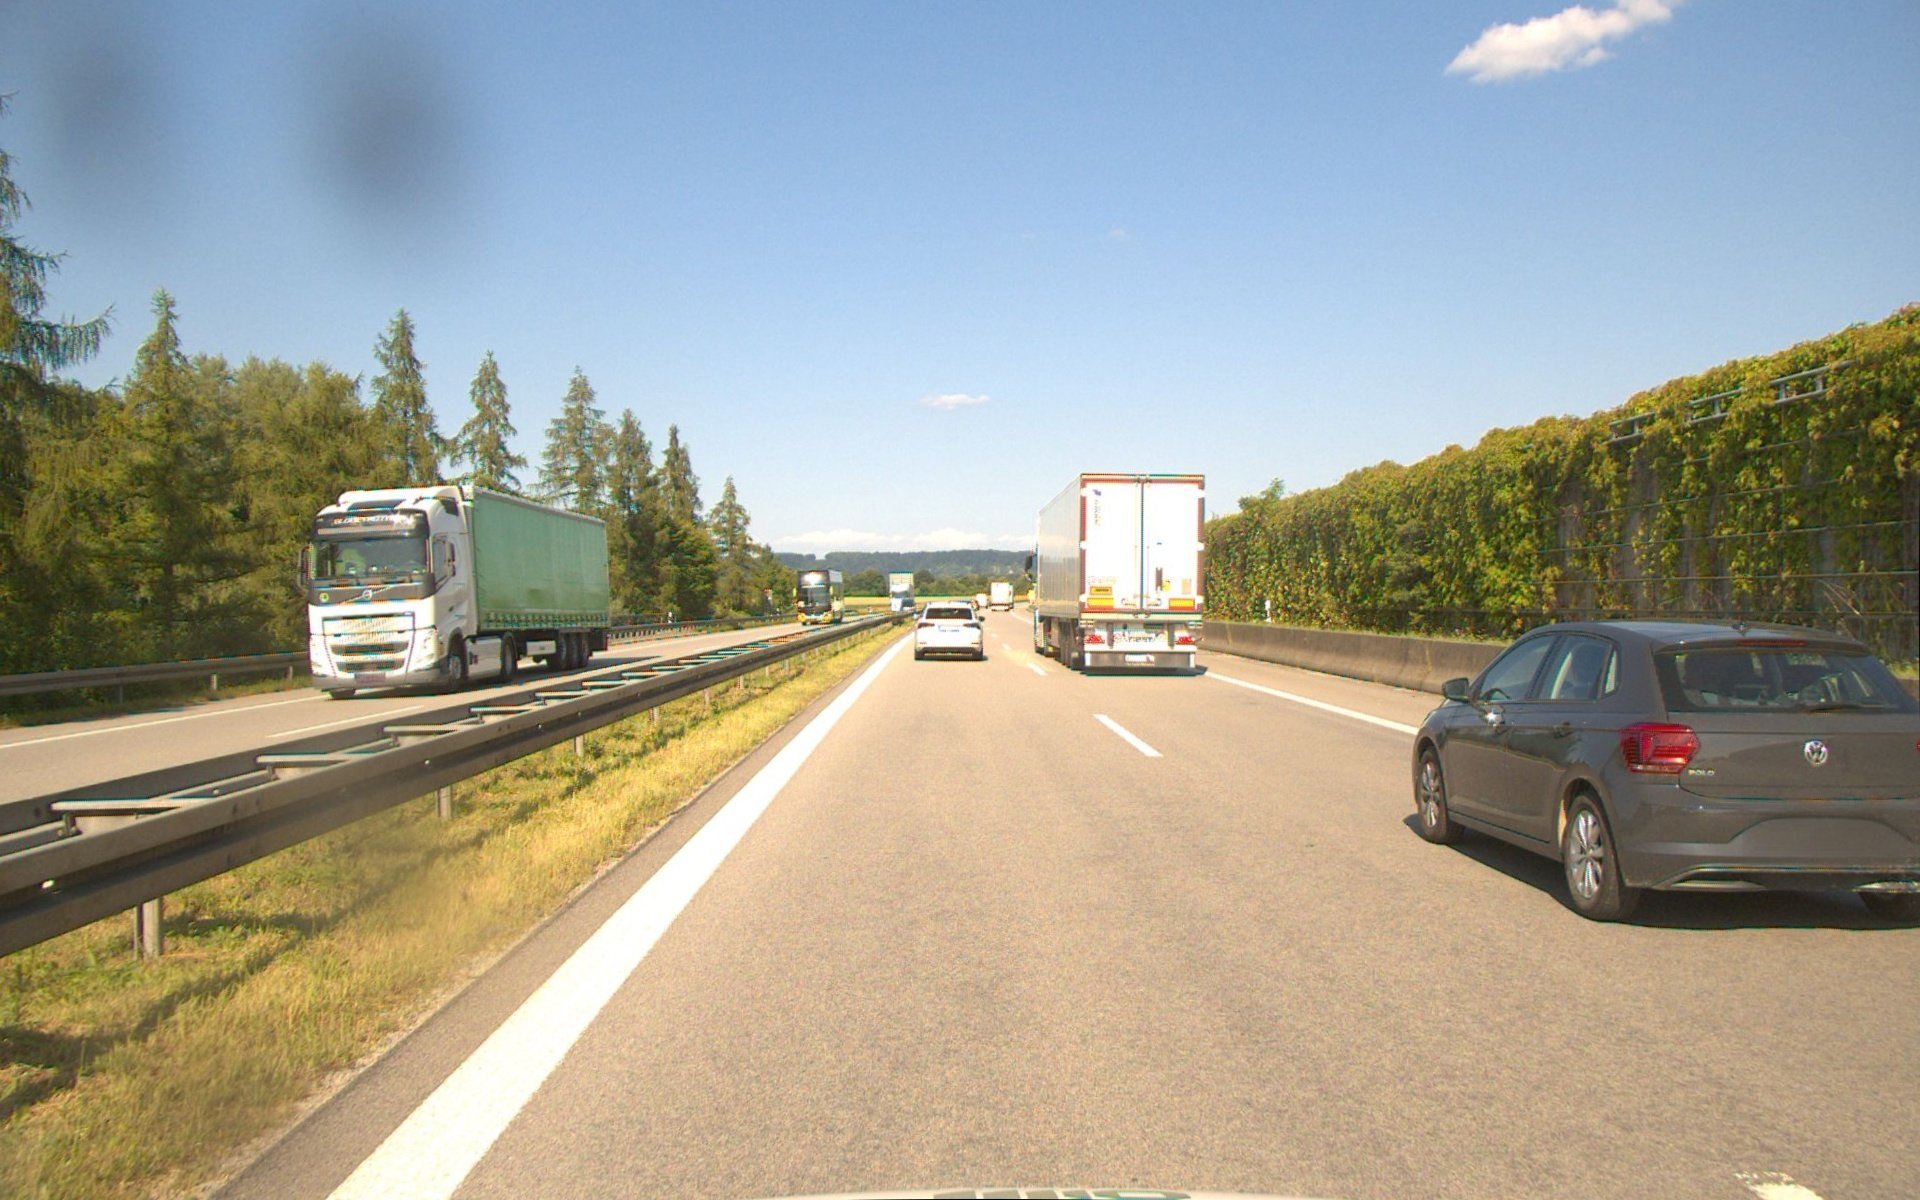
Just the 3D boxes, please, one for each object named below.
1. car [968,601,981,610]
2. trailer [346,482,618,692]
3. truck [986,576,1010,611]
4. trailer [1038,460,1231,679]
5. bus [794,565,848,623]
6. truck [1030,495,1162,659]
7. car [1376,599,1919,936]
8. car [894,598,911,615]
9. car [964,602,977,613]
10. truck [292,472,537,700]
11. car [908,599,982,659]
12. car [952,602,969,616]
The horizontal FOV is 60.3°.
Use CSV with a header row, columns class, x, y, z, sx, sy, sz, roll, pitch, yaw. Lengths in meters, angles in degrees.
class,x,y,z,sx,sy,sz,roll,pitch,yaw
car,2.167,0.825,248.008,1.734,1.446,4.365,0,0,2
trailer,-10.973,-0.271,39.982,2.607,4.078,14.084,-2,0,-1
truck,5.353,-0.921,233.954,3.087,4.693,8.905,-1,0,1
trailer,3.629,-0.592,38.250,2.761,4.035,14.158,-2,0,0
bus,-10.704,-0.467,128.948,2.877,4.124,14.667,-2,0,0
truck,3.568,-0.583,45.011,2.783,4.035,7.042,-2,0,-1
car,3.822,0.739,9.564,1.631,1.480,4.543,0,0,-1
car,-6.632,0.758,192.376,1.718,1.881,5.011,-3,0,0
car,1.474,1.018,231.647,1.735,1.446,4.365,0,0,0
truck,-10.918,-0.268,33.907,2.590,4.078,7.191,-2,0,-1
car,-0.419,0.714,43.268,1.803,1.446,5.253,0,0,-1
car,0.041,0.904,167.464,1.735,1.446,4.494,0,0,-1
